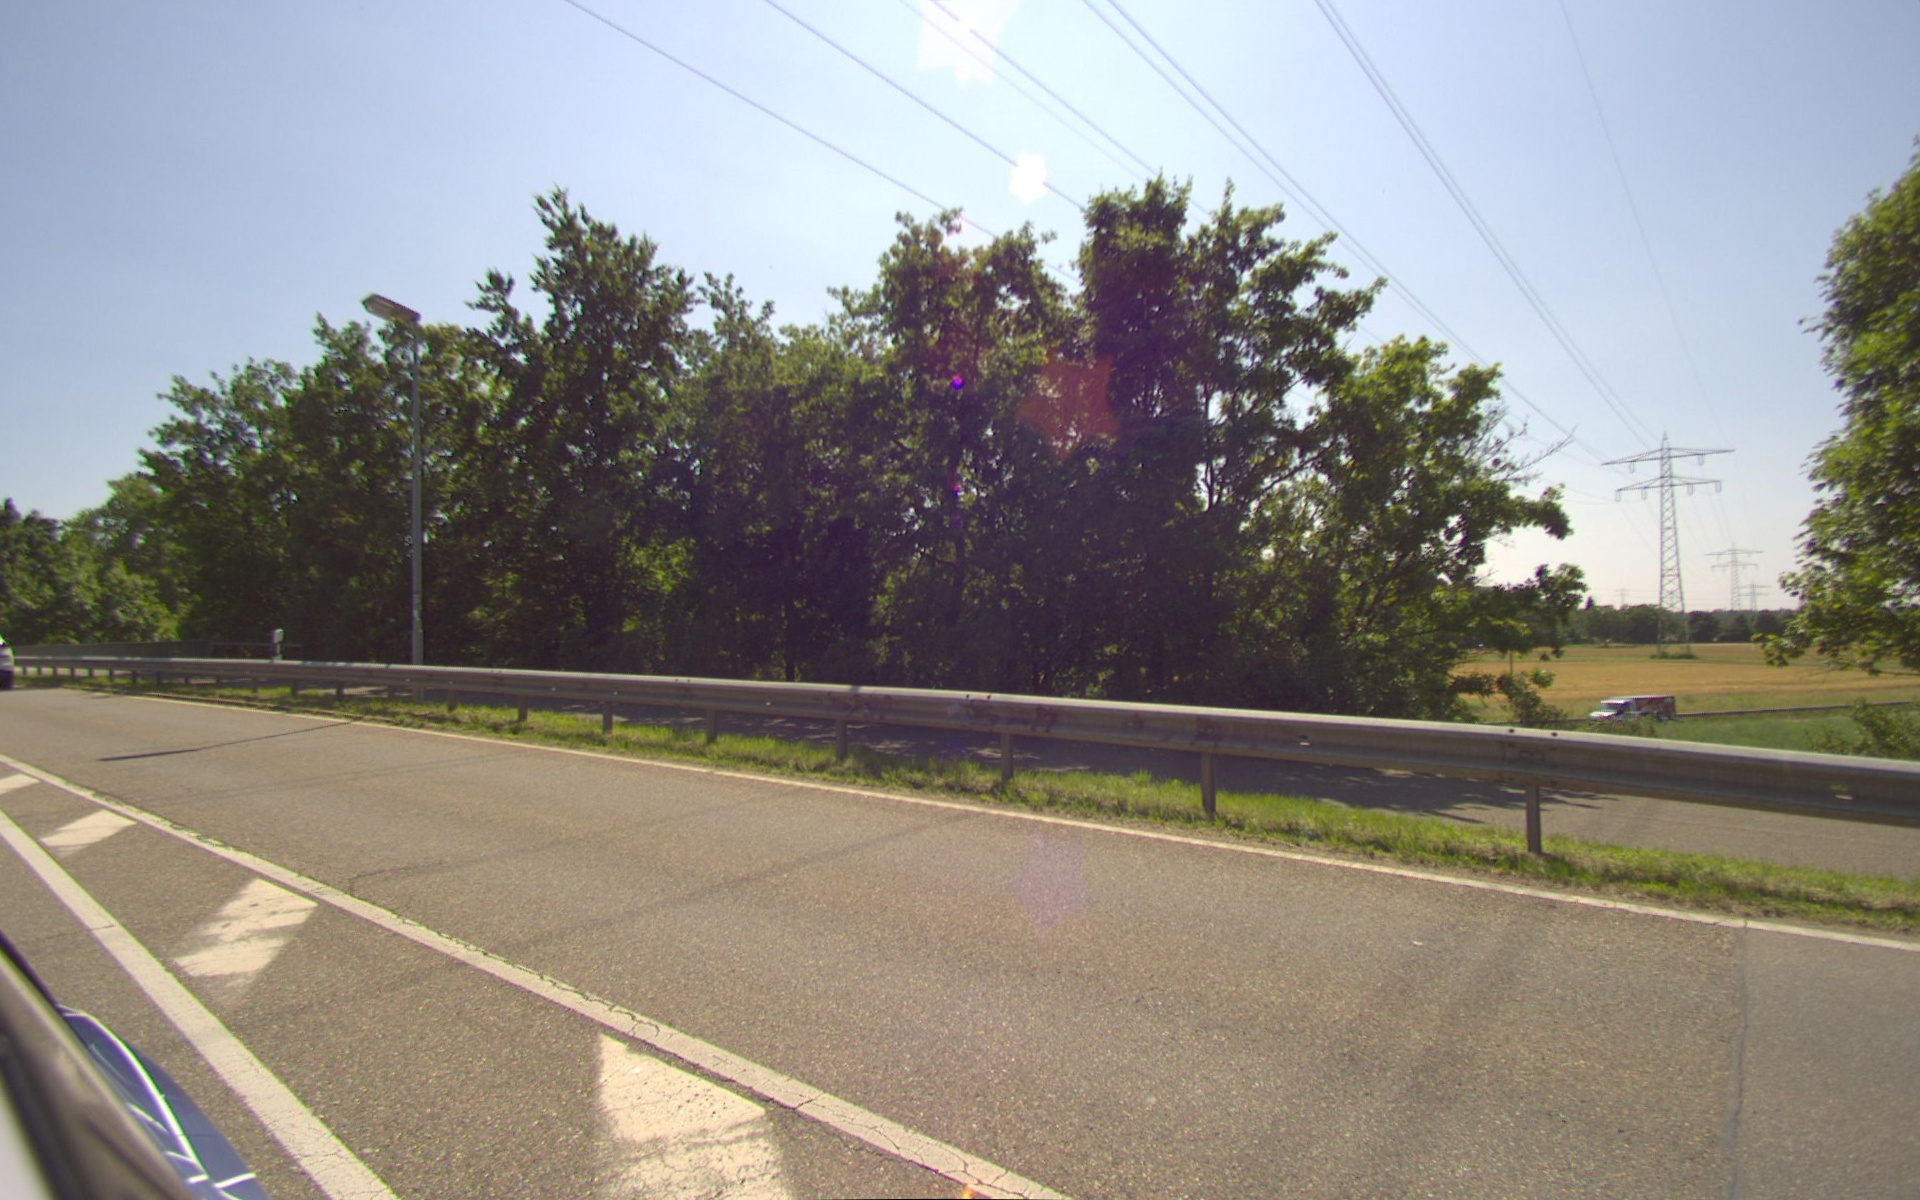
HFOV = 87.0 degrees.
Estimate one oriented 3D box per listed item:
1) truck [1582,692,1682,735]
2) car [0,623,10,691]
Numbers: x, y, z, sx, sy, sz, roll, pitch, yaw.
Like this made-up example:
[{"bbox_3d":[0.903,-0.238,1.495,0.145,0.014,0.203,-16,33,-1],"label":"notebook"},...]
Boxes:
[{"bbox_3d":[46.814,7.873,70.543,6.418,2.342,2.006,-3,1,-15],"label":"truck"},{"bbox_3d":[-25.453,1.447,25.358,4.135,1.652,1.806,-2,-1,38],"label":"car"}]
